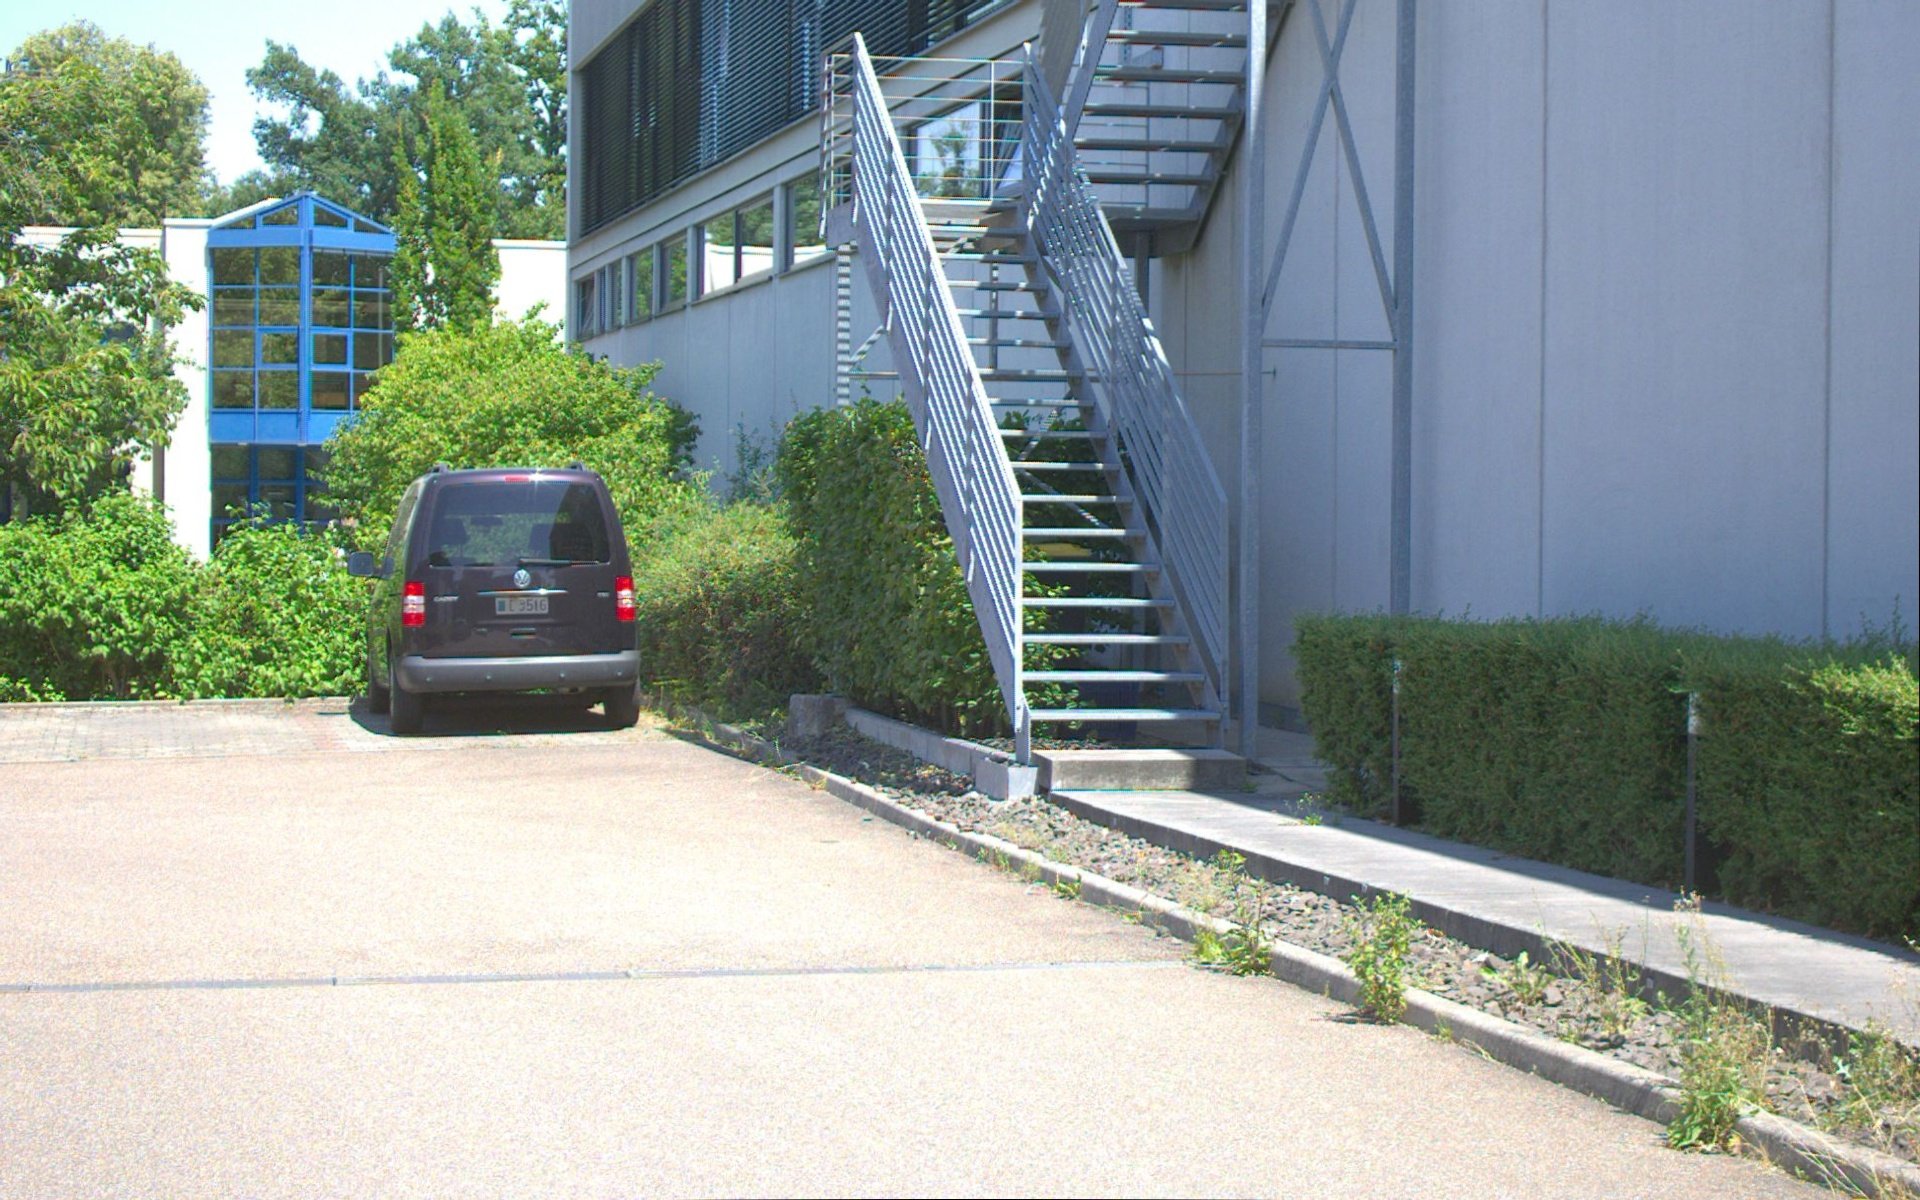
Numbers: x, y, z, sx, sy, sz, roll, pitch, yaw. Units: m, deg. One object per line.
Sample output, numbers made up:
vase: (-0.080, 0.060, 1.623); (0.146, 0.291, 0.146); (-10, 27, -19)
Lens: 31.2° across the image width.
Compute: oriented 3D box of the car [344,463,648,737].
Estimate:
car: (-3.487, -0.067, 25.284); (1.742, 1.830, 4.001); (-1, 2, -14)
